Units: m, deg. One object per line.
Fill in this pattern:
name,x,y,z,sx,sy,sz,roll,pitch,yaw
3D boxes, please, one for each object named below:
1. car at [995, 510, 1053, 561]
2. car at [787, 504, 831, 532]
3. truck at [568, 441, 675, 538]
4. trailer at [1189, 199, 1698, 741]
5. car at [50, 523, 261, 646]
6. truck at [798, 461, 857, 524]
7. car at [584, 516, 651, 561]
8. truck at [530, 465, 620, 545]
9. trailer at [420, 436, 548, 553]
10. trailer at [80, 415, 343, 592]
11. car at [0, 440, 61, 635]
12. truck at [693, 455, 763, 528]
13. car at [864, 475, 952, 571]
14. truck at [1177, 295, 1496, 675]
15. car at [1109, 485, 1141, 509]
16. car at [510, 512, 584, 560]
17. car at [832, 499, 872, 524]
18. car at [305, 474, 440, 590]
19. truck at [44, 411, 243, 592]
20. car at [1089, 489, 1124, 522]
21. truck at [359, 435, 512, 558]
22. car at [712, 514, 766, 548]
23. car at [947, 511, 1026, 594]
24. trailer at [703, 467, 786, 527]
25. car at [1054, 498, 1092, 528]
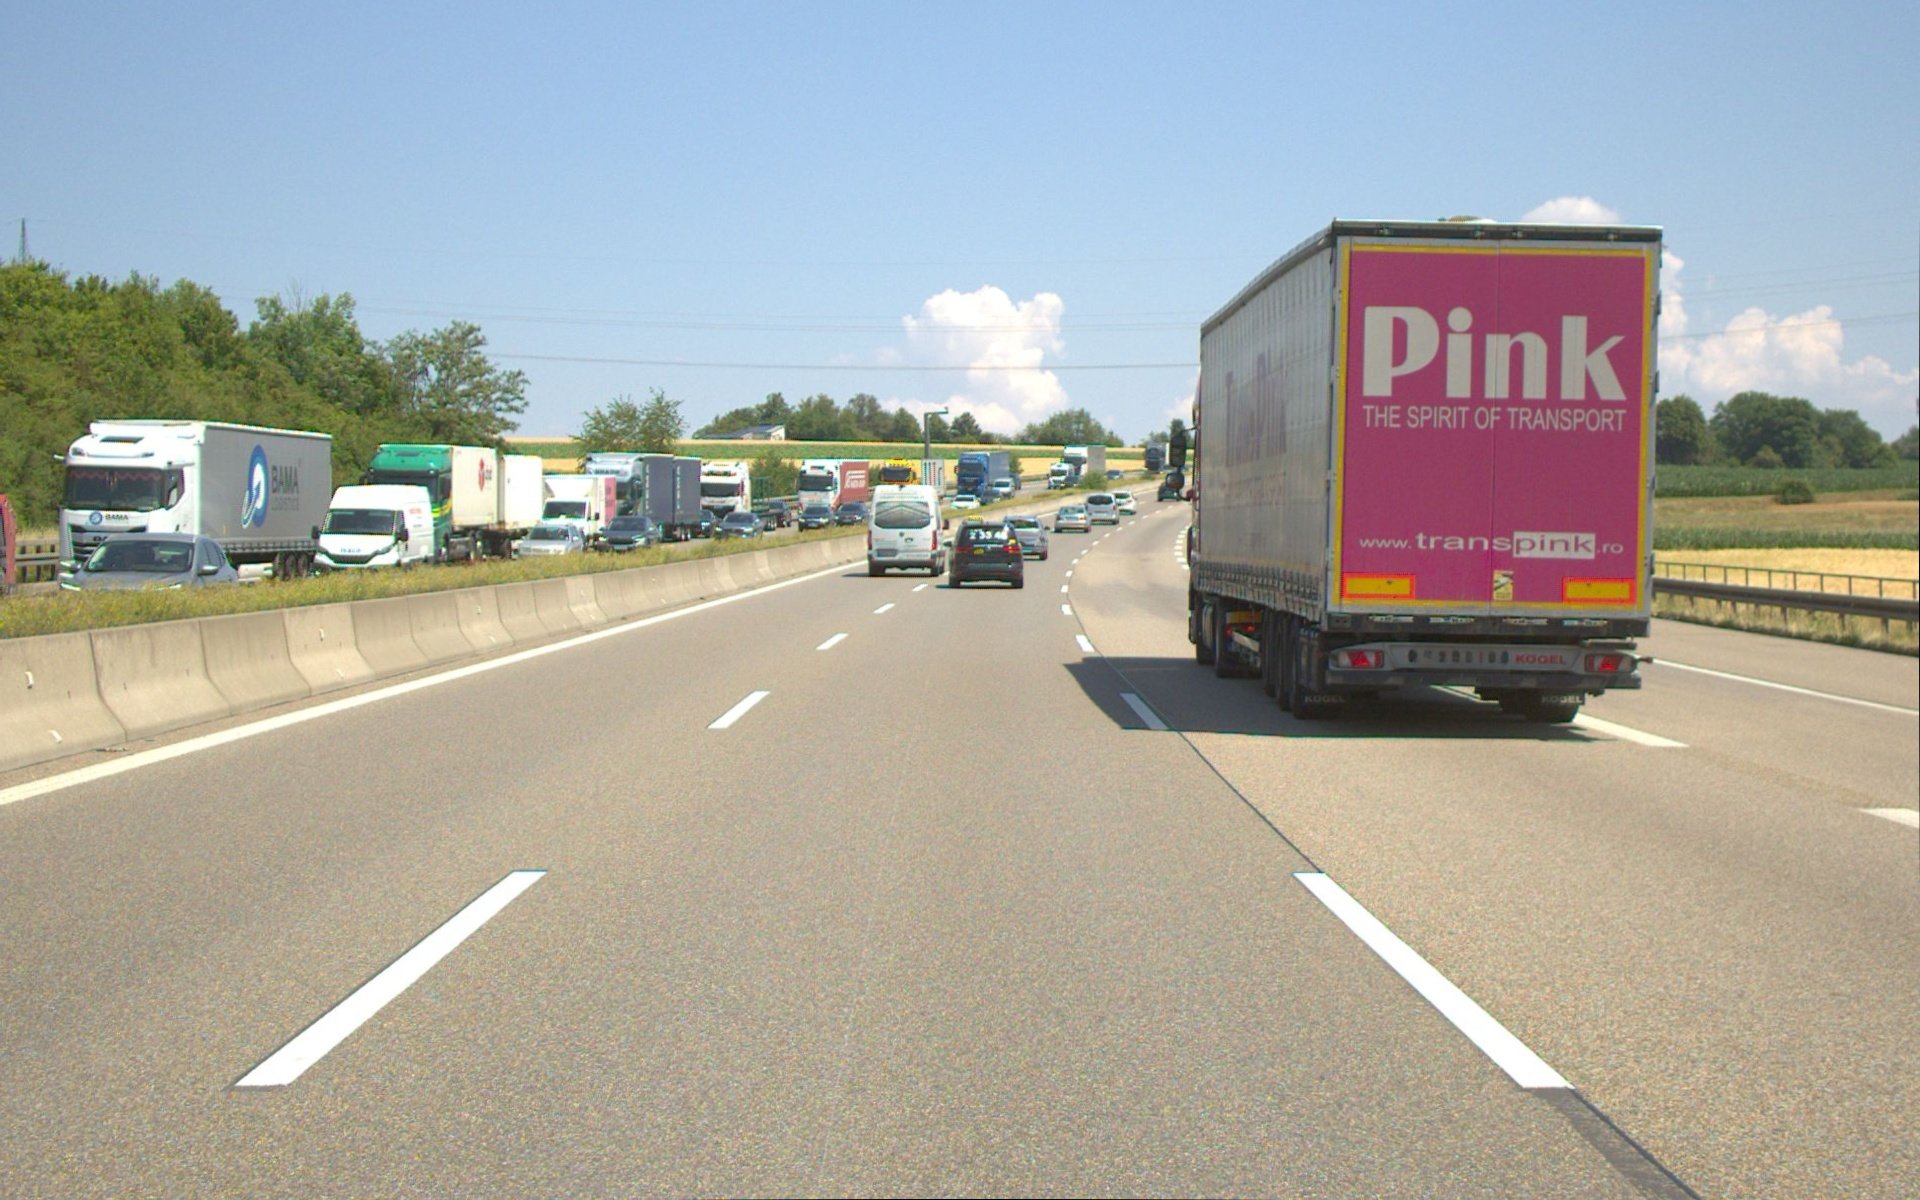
car,2.281,-2.294,123.150,1.993,1.744,4.000,1,0,0
car,-8.467,-4.625,193.346,1.994,1.522,4.772,1,2,3
truck,-15.133,-4.995,154.479,3.001,4.219,10.733,0,2,4
trailer,4.152,-1.180,33.214,2.918,4.103,13.859,1,2,0
car,-11.645,-0.270,50.076,1.932,1.682,4.797,-1,1,0
truck,-8.684,-7.106,226.444,3.036,4.067,6.314,1,2,6
car,-12.899,-2.301,129.588,1.861,1.636,5.113,0,0,2
truck,-15.925,-3.973,142.624,2.538,3.196,7.589,0,2,3
trailer,-17.163,-3.828,124.566,2.920,4.057,8.230,-1,2,4
trailer,-18.606,-2.420,86.717,2.903,4.072,14.445,0,2,2
car,-15.932,-0.979,53.671,2.236,3.003,6.552,0,2,-2
truck,-12.512,-5.871,185.595,2.901,3.863,6.178,1,2,4
car,-1.447,-2.145,97.157,2.180,2.616,4.672,1,0,2
truck,4.192,-1.304,39.678,2.916,3.994,6.511,1,1,0
car,11.354,-7.099,236.853,1.994,1.546,4.000,2,3,5
car,-13.636,-2.102,113.787,1.752,1.455,4.858,1,0,1
car,-6.580,-5.388,209.403,1.994,1.450,5.170,0,2,3
car,-14.722,-1.655,86.526,2.139,2.776,6.625,1,0,1
truck,-18.846,-2.277,79.713,2.853,4.022,6.604,0,2,2
car,8.741,-5.642,205.342,1.993,1.897,4.000,0,0,1
truck,-17.557,-3.518,115.980,2.843,3.885,11.247,-1,2,3
car,-10.361,-3.248,161.463,1.994,1.540,5.494,0,2,2
car,0.637,-1.200,85.108,1.847,1.854,4.206,0,3,-1
trailer,-11.979,-5.826,192.387,2.858,3.194,12.782,1,2,4
car,5.996,-4.601,182.380,1.993,1.579,4.000,0,1,2
